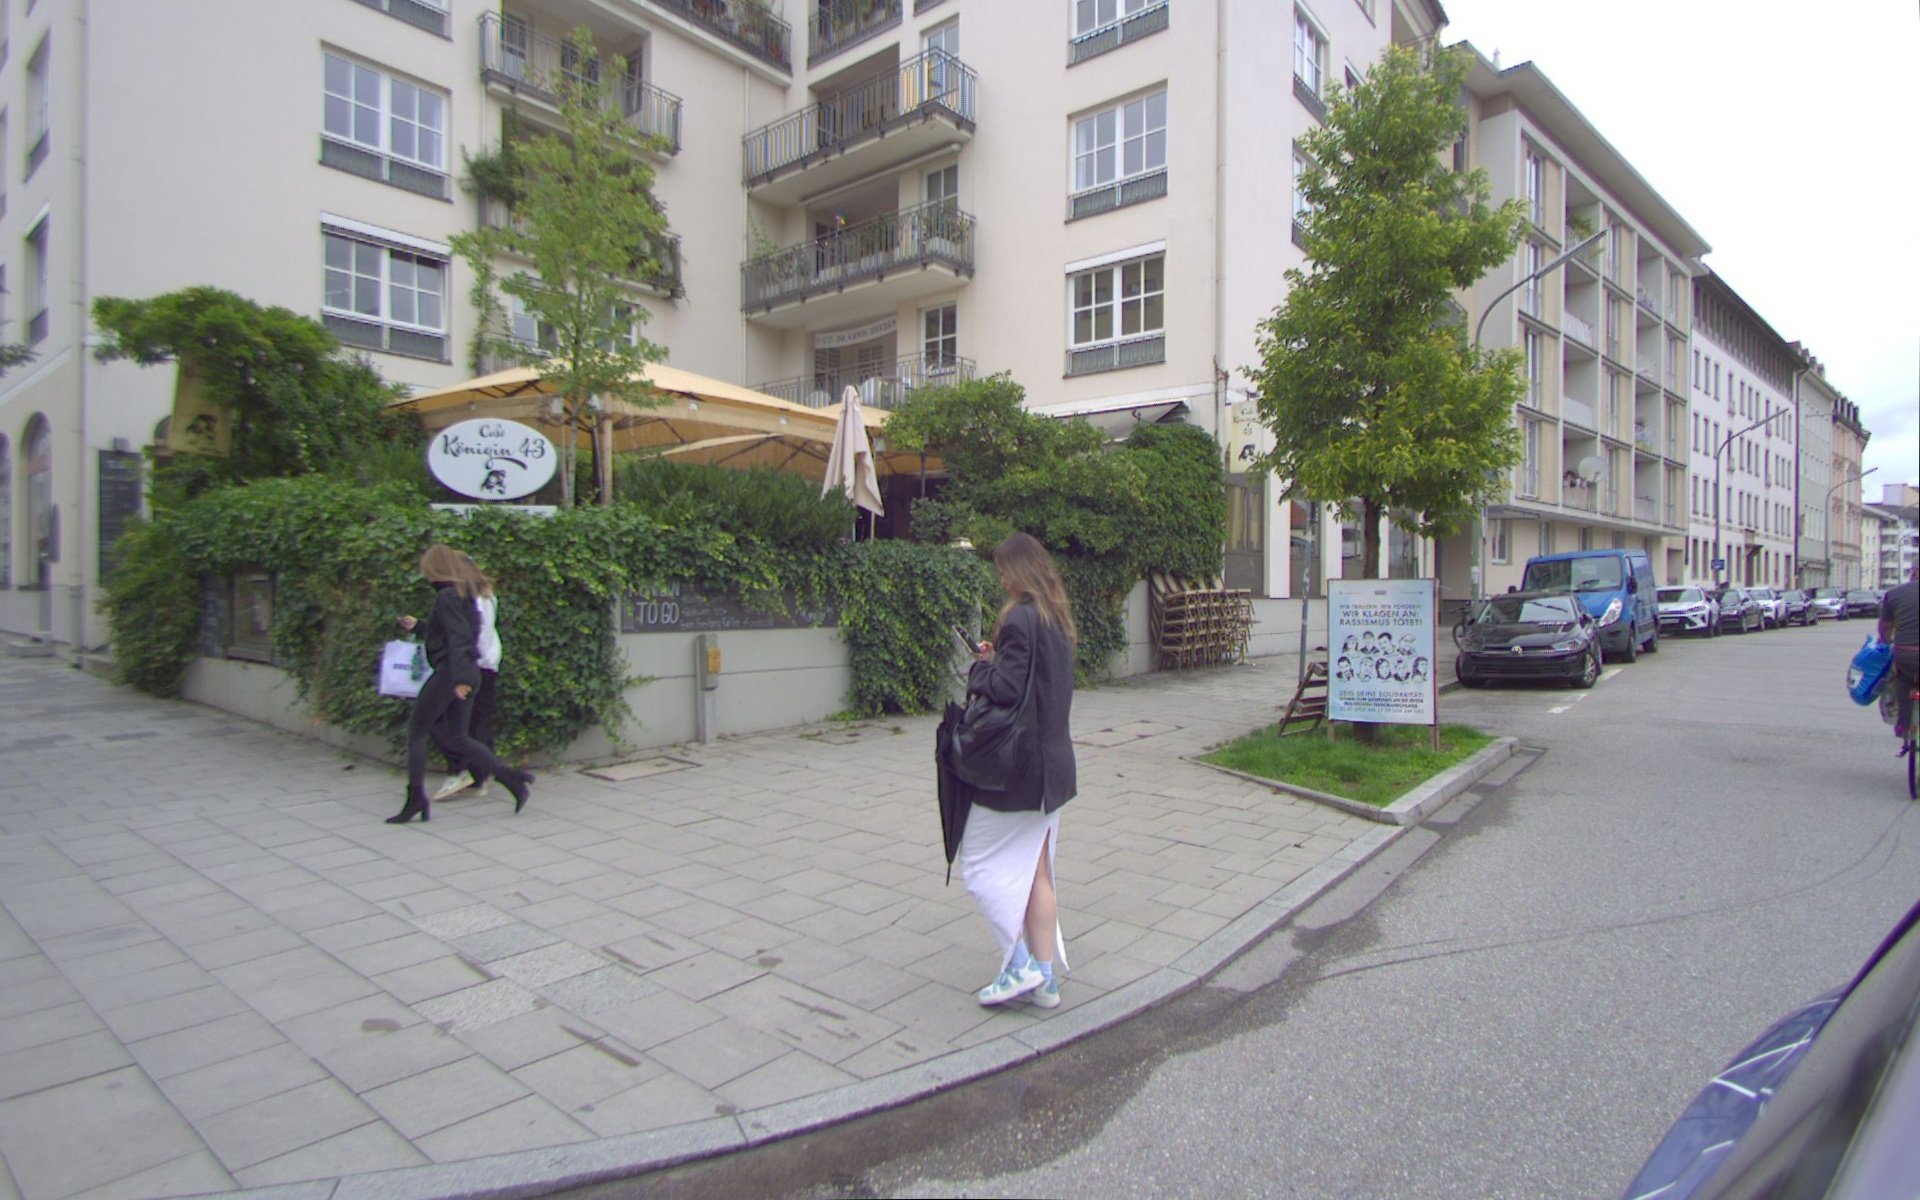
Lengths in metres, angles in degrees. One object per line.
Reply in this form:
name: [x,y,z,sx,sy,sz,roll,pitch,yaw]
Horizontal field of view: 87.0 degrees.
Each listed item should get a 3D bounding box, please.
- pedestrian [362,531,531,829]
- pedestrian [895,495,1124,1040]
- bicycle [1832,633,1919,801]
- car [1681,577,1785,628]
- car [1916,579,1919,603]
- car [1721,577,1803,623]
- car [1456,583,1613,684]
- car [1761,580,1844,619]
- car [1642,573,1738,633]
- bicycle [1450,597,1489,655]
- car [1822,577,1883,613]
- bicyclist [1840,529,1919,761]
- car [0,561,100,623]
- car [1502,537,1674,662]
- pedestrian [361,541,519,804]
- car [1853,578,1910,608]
pedestrian: [-3.033,0.428,6.051,0.812,1.648,0.682,0,2,-20]
pedestrian: [0.193,0.514,3.603,0.539,1.718,0.660,3,2,28]
bicycle: [7.065,0.801,7.388,2.155,1.032,0.877,0,1,-44]
car: [24.895,0.073,32.549,4.613,1.448,1.773,0,-3,-42]
car: [65.676,-0.624,67.961,3.931,1.560,1.766,0,-2,-42]
car: [28.604,-0.013,36.048,4.052,1.487,1.702,-1,-3,-44]
car: [9.274,0.481,16.186,1.709,1.412,3.948,-3,-1,36]
car: [32.544,-0.014,39.067,4.414,1.399,1.829,0,-2,-42]
car: [21.109,0.096,29.200,1.773,1.543,4.239,-4,-3,42]
bicycle: [10.126,0.486,20.099,0.562,1.083,1.768,1,1,31]
car: [40.752,-0.223,46.193,3.321,1.536,1.616,0,-3,-41]
bicyclist: [7.127,0.314,7.466,0.876,1.629,1.032,1,1,45]
car: [-24.455,-0.205,25.988,1.570,1.549,3.431,1,1,40]
car: [13.146,-0.073,21.035,2.106,2.241,4.955,-5,-1,41]
pedestrian: [-3.423,0.432,6.743,0.812,1.626,0.811,0,2,-19]
car: [47.849,-0.352,52.537,4.622,1.466,1.874,0,-1,-44]
